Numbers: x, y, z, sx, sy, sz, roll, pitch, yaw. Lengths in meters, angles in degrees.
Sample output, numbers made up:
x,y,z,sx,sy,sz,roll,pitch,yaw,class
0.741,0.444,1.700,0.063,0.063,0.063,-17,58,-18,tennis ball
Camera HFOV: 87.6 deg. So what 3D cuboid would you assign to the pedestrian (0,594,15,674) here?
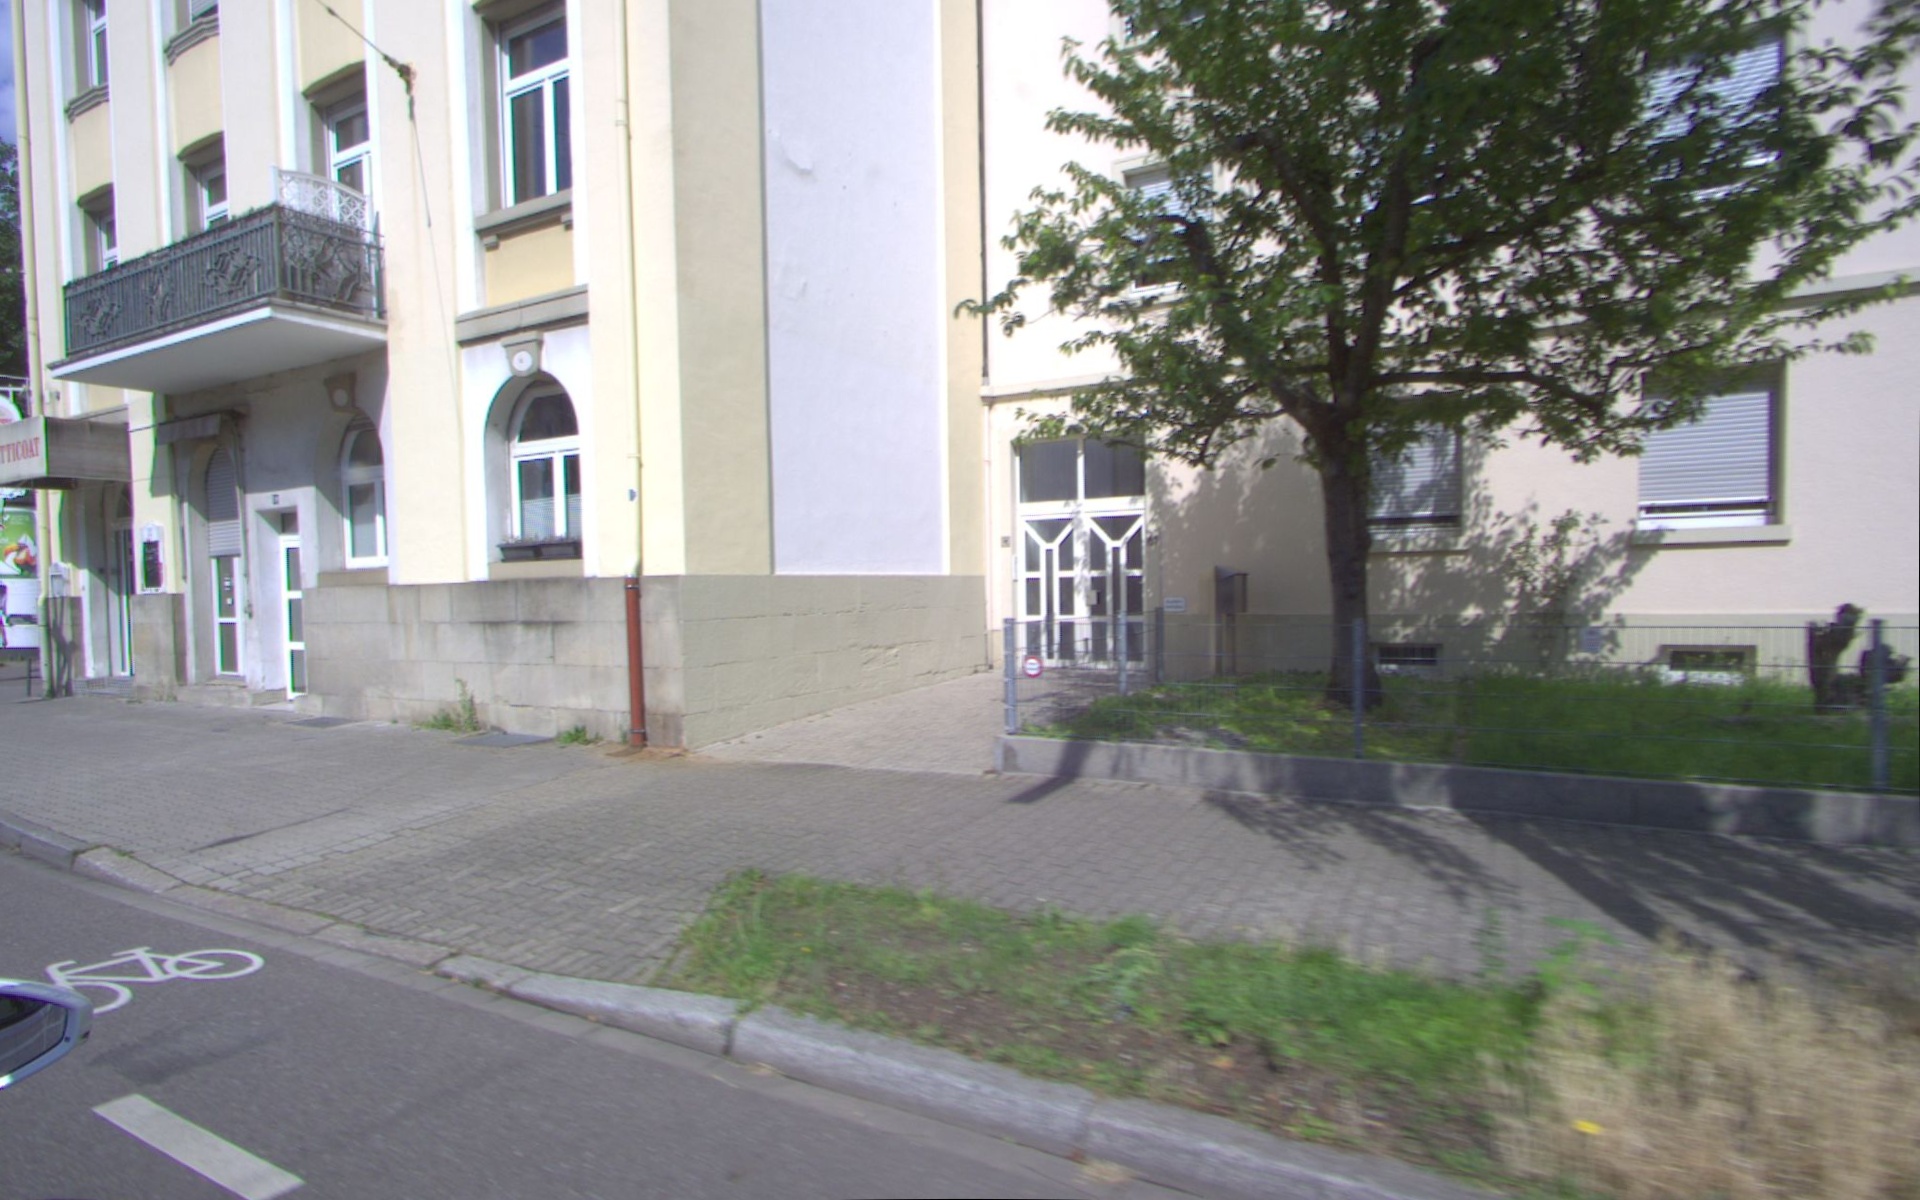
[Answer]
x,y,z,sx,sy,sz,roll,pitch,yaw,class
-20.426,0.716,21.040,0.666,1.670,0.757,-3,2,-37,pedestrian
